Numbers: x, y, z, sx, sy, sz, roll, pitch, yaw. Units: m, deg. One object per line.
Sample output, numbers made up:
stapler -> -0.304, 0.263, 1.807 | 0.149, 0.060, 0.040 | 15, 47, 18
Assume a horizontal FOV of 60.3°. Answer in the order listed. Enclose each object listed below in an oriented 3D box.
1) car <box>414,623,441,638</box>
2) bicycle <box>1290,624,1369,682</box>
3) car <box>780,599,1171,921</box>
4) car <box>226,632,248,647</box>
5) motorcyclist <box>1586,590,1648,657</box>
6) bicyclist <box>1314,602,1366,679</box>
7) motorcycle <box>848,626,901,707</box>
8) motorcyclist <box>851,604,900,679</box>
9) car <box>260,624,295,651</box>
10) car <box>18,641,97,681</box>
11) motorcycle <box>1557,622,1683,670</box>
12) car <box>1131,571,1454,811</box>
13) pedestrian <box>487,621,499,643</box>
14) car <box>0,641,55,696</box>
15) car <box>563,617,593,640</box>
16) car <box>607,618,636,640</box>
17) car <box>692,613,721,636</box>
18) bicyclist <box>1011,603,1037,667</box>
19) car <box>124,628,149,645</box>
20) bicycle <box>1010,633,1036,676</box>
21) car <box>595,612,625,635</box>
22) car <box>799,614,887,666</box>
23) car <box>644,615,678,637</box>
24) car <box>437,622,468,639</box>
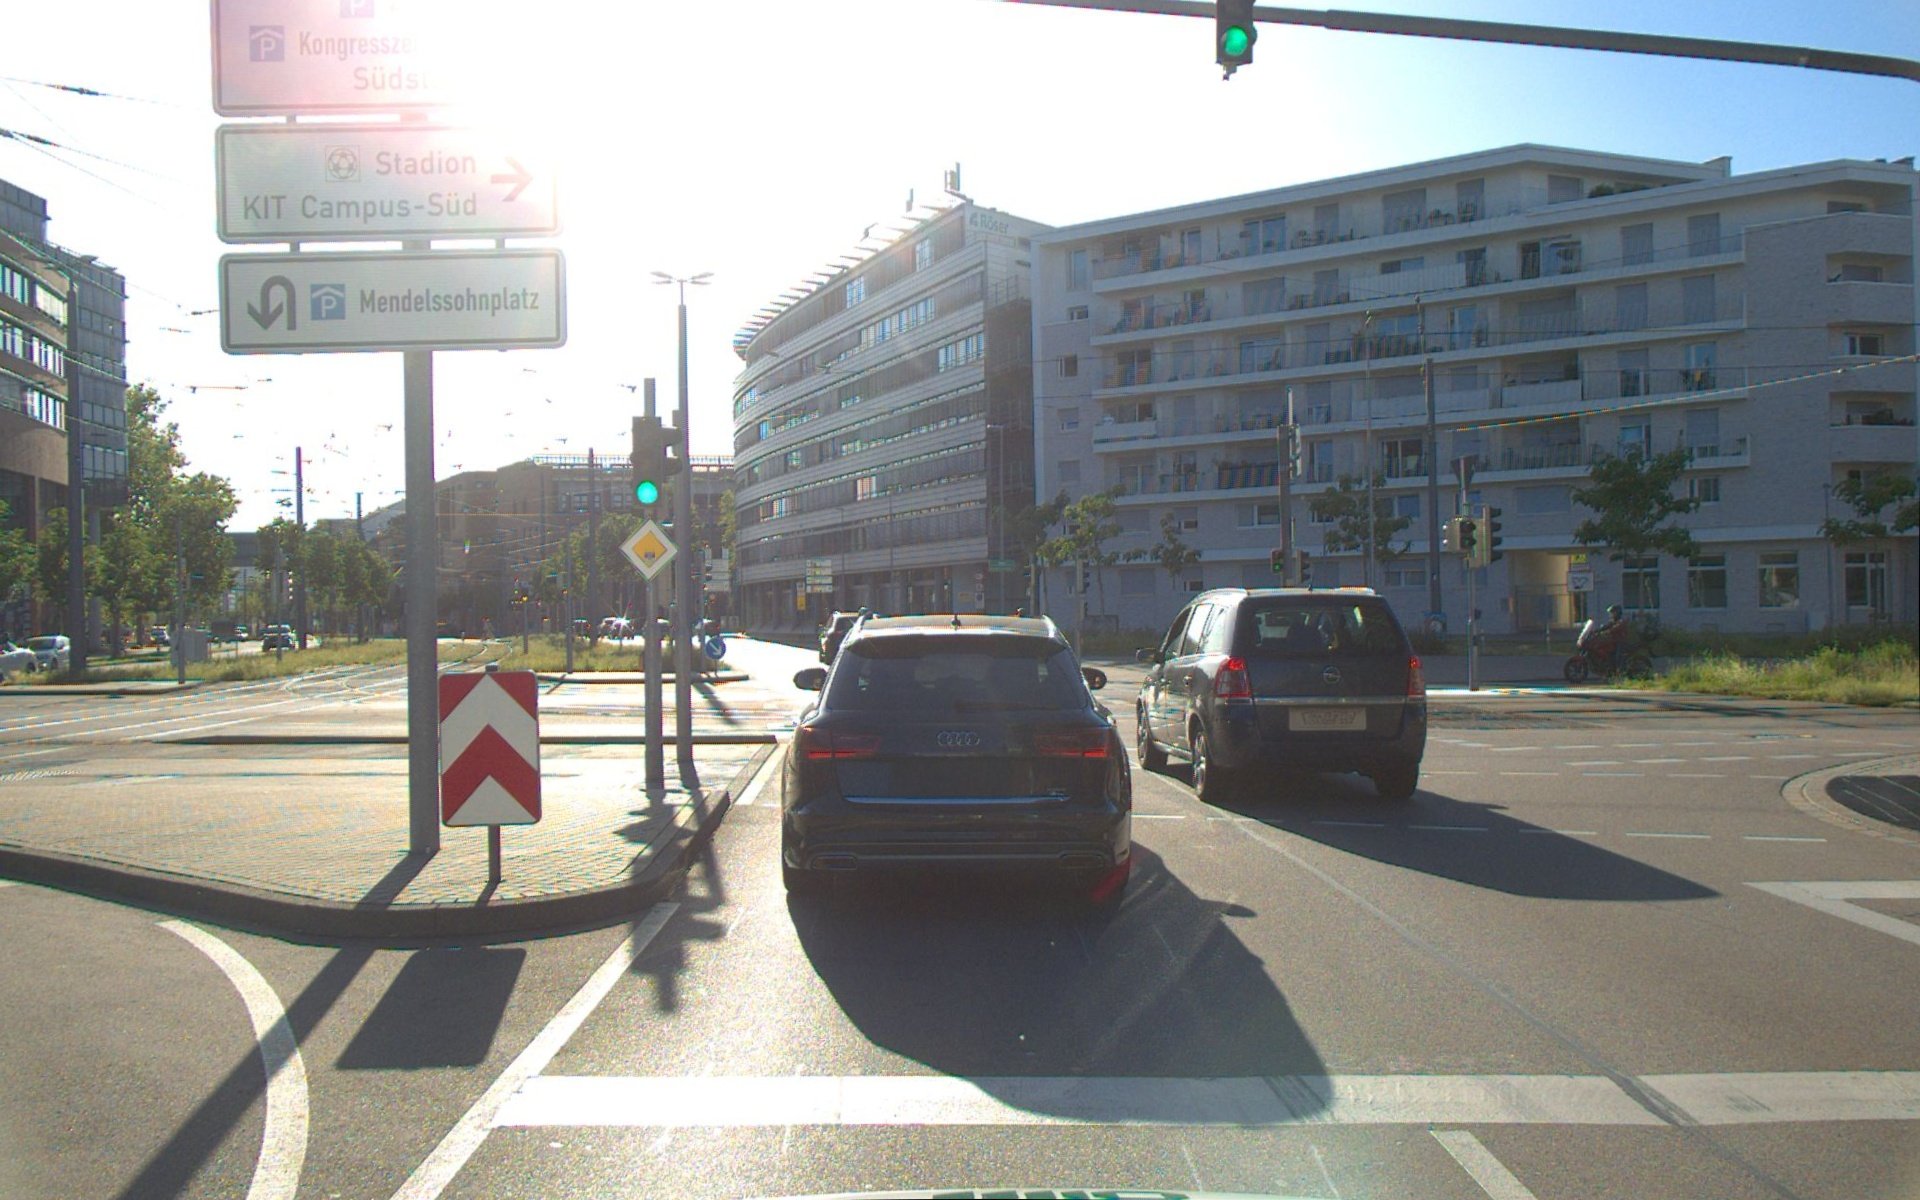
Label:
car -> -63.869, 3.682, 198.398 | 1.977, 1.669, 4.358 | -1, -1, -34
bicycle -> 8.602, 1.225, 38.604 | 0.755, 1.284, 2.068 | -1, -1, -22
car -> 0.036, 0.749, 9.665 | 1.805, 1.479, 3.999 | 0, 0, -1
car -> -83.886, 4.581, 191.914 | 1.972, 1.713, 3.960 | -1, -1, -29
motorcyclist -> 15.030, 0.534, 37.885 | 0.906, 1.507, 1.171 | -1, -1, -1
bicyclist -> 8.769, 0.921, 38.187 | 0.755, 1.736, 0.924 | -1, -1, -22
motorcycle -> -1.580, 1.190, 30.279 | 0.846, 1.417, 1.891 | -1, -1, -6
motorcyclist -> -1.549, 0.754, 30.338 | 0.846, 1.349, 0.680 | -1, -1, -6
car -> -44.899, 2.463, 108.811 | 1.965, 1.669, 4.384 | -1, -1, -21
car -> -36.932, 2.470, 67.753 | 1.862, 1.431, 3.985 | -2, 0, -14
motorcycle -> 15.088, 1.048, 37.882 | 2.403, 1.018, 1.171 | -1, -1, -1
car -> 2.647, 0.689, 14.174 | 1.711, 1.726, 4.258 | 1, -1, -3
pedestrian -> -40.017, 2.752, 141.631 | 0.888, 1.856, 0.825 | -2, -2, -18
car -> -29.713, 2.112, 50.223 | 1.953, 1.573, 4.530 | -1, 0, 0
car -> -31.122, 2.327, 134.749 | 1.963, 1.736, 3.978 | -2, -1, -19
car -> -26.496, 2.267, 129.446 | 1.961, 1.624, 3.982 | -2, -1, -16
car -> -21.396, 2.089, 139.531 | 1.961, 1.870, 3.982 | -2, -1, -16
bicyclist -> 1.702, 0.923, 43.947 | 0.640, 1.671, 0.972 | -1, 0, 2
car -> -104.400, 4.590, 209.719 | 1.981, 2.049, 3.942 | -2, 0, -40
bicycle -> 1.674, 1.438, 43.943 | 0.640, 1.061, 1.930 | -1, 0, 2
car -> -28.594, 1.926, 135.116 | 1.963, 1.736, 3.978 | -2, -1, -19
car -> -4.180, 1.374, 58.448 | 1.974, 1.745, 4.346 | 1, 0, -20
car -> -23.011, 2.008, 127.164 | 1.964, 1.624, 3.977 | -2, -1, -19
car -> -54.596, 3.239, 177.907 | 1.952, 1.736, 4.000 | -2, -1, 1
